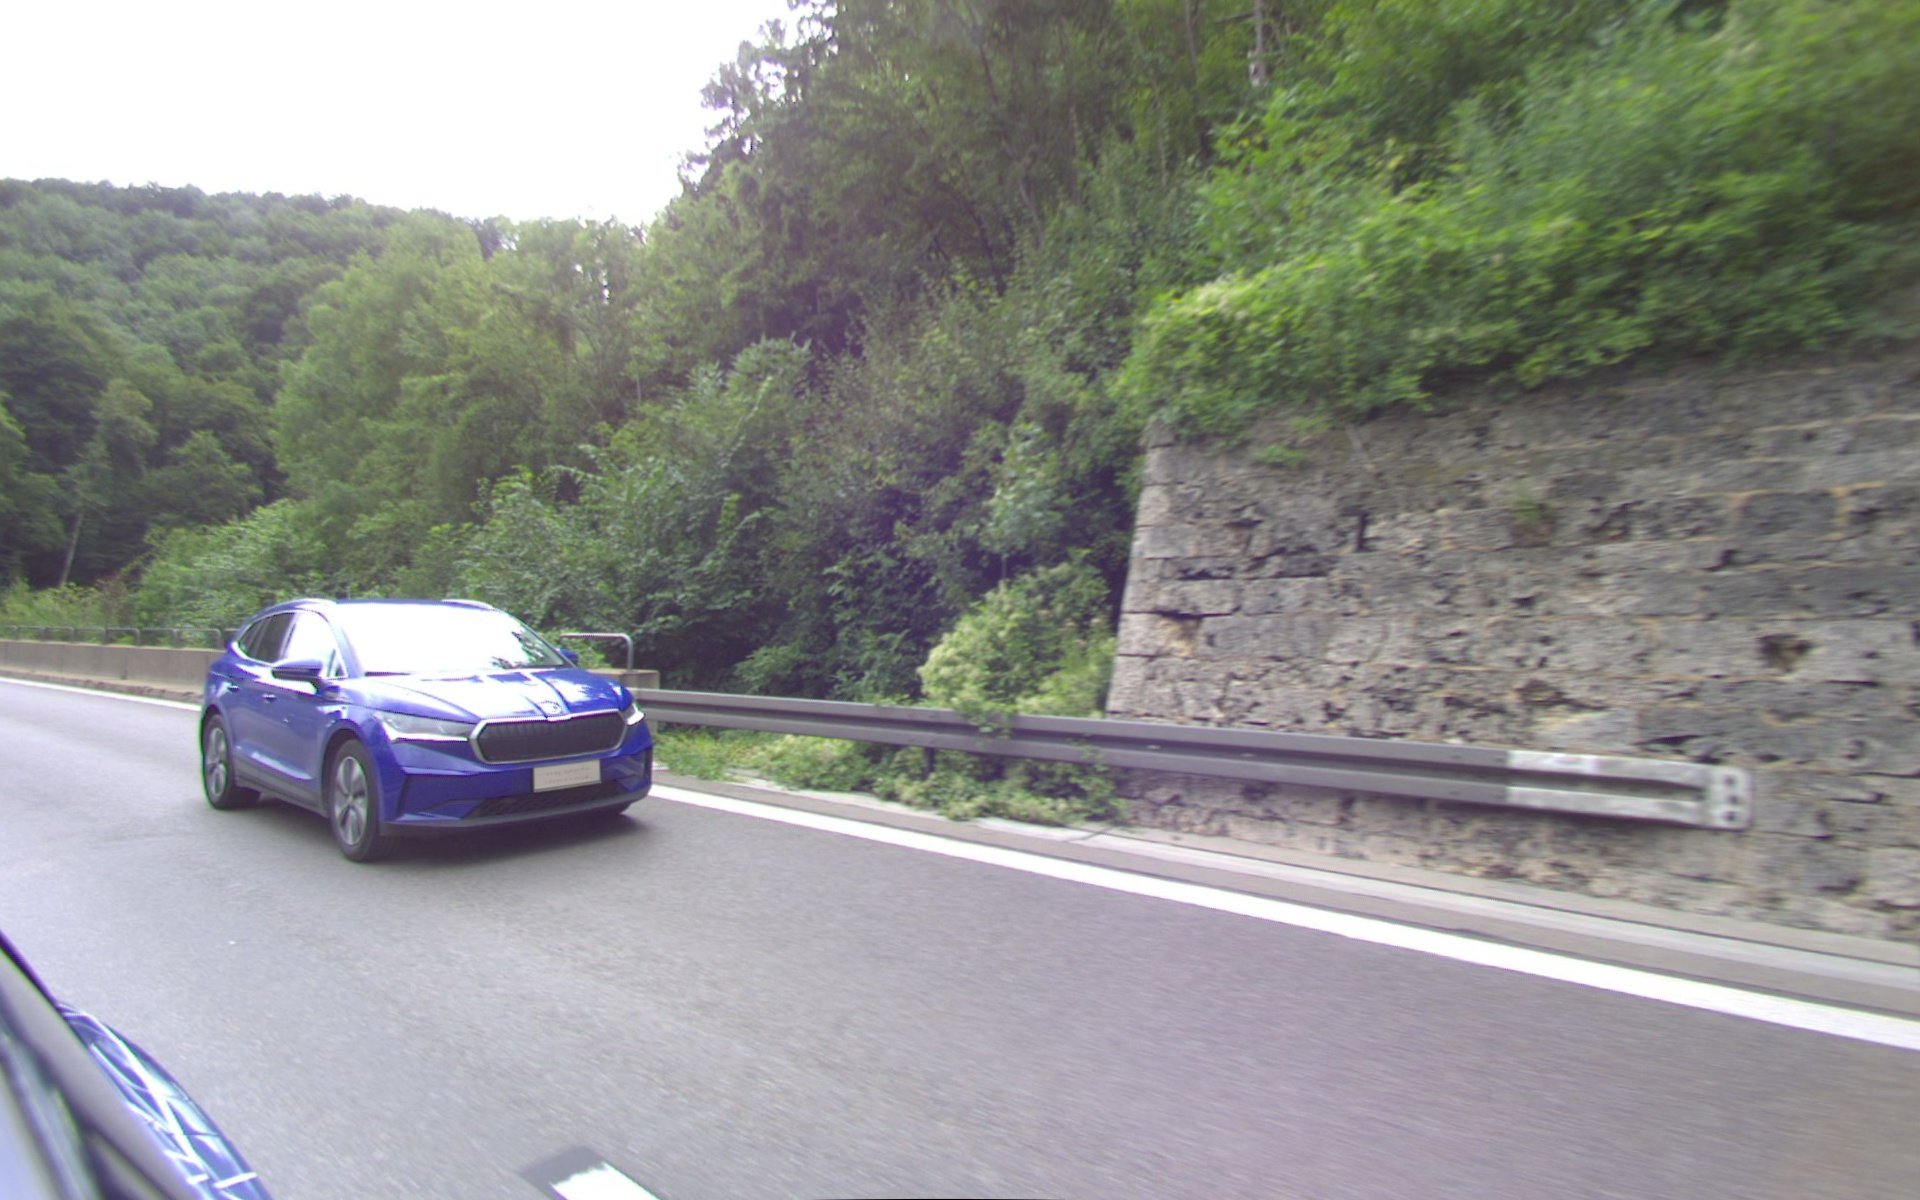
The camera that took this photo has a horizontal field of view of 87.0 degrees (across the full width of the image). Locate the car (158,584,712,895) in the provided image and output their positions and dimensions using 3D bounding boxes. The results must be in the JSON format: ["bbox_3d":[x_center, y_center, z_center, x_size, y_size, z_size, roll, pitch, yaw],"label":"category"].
[{"bbox_3d":[-4.247,0.769,7.740,5.004,1.644,1.974,-1,0,40],"label":"car"}]
